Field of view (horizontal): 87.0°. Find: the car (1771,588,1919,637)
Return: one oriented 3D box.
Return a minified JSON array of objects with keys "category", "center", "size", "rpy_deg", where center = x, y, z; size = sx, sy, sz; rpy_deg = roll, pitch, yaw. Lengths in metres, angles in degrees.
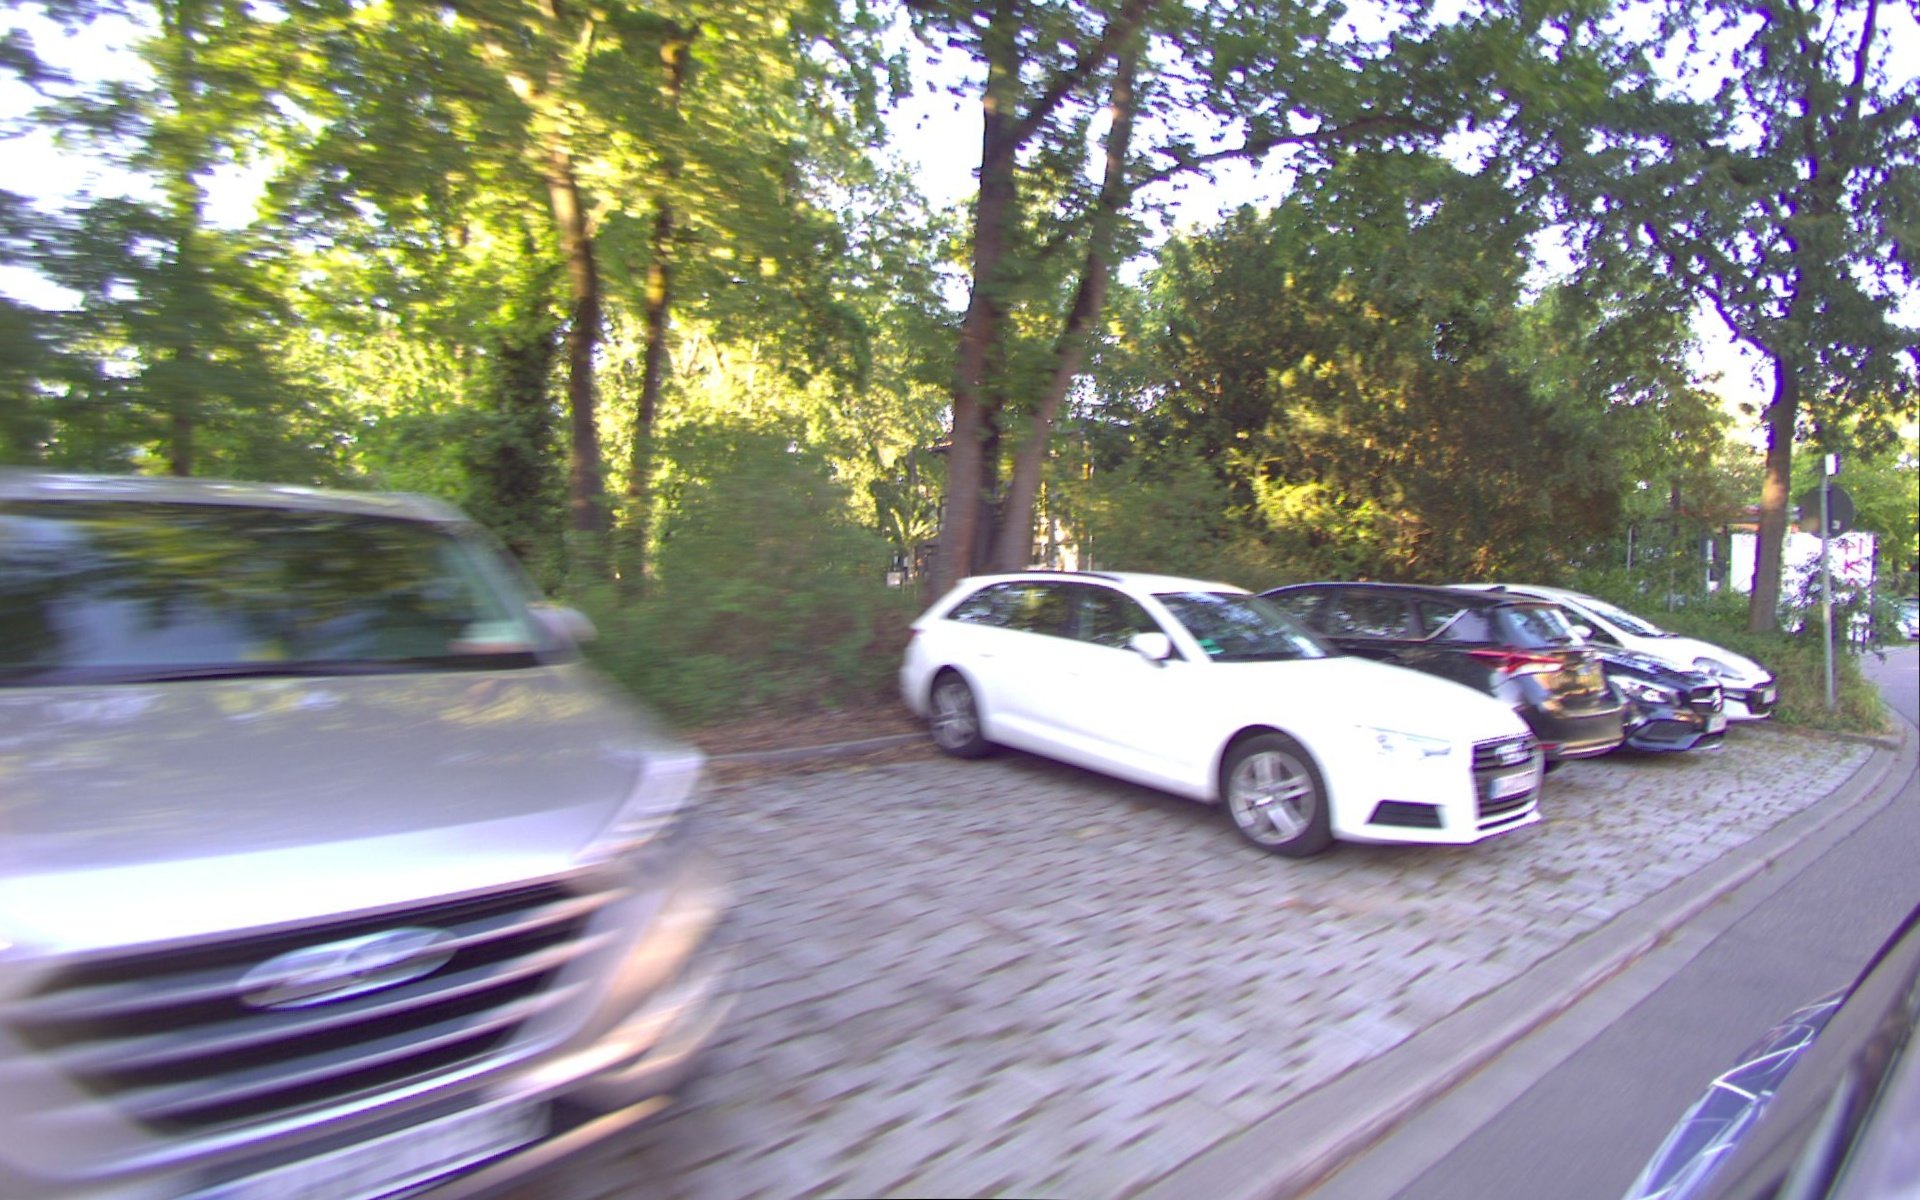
[{"category":"car","center":[35.457,0.457,40.046],"size":[1.882,1.572,4.939],"rpy_deg":[0,4,-40]}]

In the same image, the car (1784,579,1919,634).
[{"category":"car","center":[37.394,0.233,41.838],"size":[1.882,1.939,4.864],"rpy_deg":[0,4,-40]}]

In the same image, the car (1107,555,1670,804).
[{"category":"car","center":[3.327,0.451,8.507],"size":[1.721,1.574,3.996],"rpy_deg":[1,1,-40]}]

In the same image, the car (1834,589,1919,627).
[{"category":"car","center":[43.058,0.376,46.285],"size":[1.887,1.556,4.373],"rpy_deg":[0,4,-40]}]

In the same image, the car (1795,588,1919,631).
[{"category":"car","center":[39.281,0.395,43.464],"size":[1.882,1.572,4.939],"rpy_deg":[0,4,-40]}]

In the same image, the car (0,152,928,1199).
[{"category":"car","center":[-2.234,0.256,3.191],"size":[2.000,1.826,4.316],"rpy_deg":[-1,3,-40]}]

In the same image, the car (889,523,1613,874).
[{"category":"car","center":[1.543,0.378,6.880],"size":[1.823,1.574,4.497],"rpy_deg":[1,1,-38]}]

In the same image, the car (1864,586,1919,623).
[{"category":"car","center":[49.379,0.278,51.771],"size":[1.887,1.802,4.373],"rpy_deg":[0,4,-40]}]

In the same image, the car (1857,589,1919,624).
[{"category":"car","center":[47.284,0.356,49.848],"size":[1.843,1.572,4.373],"rpy_deg":[0,4,-40]}]

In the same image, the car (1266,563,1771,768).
[{"category":"car","center":[5.260,0.469,9.983],"size":[1.694,1.574,3.996],"rpy_deg":[1,1,-40]}]

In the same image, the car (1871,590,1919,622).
[{"category":"car","center":[51.029,0.386,53.238],"size":[1.697,1.572,4.373],"rpy_deg":[0,4,-40]}]

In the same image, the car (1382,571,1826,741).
[{"category":"car","center":[7.233,0.485,11.719],"size":[1.695,1.573,3.996],"rpy_deg":[0,2,-40]}]
